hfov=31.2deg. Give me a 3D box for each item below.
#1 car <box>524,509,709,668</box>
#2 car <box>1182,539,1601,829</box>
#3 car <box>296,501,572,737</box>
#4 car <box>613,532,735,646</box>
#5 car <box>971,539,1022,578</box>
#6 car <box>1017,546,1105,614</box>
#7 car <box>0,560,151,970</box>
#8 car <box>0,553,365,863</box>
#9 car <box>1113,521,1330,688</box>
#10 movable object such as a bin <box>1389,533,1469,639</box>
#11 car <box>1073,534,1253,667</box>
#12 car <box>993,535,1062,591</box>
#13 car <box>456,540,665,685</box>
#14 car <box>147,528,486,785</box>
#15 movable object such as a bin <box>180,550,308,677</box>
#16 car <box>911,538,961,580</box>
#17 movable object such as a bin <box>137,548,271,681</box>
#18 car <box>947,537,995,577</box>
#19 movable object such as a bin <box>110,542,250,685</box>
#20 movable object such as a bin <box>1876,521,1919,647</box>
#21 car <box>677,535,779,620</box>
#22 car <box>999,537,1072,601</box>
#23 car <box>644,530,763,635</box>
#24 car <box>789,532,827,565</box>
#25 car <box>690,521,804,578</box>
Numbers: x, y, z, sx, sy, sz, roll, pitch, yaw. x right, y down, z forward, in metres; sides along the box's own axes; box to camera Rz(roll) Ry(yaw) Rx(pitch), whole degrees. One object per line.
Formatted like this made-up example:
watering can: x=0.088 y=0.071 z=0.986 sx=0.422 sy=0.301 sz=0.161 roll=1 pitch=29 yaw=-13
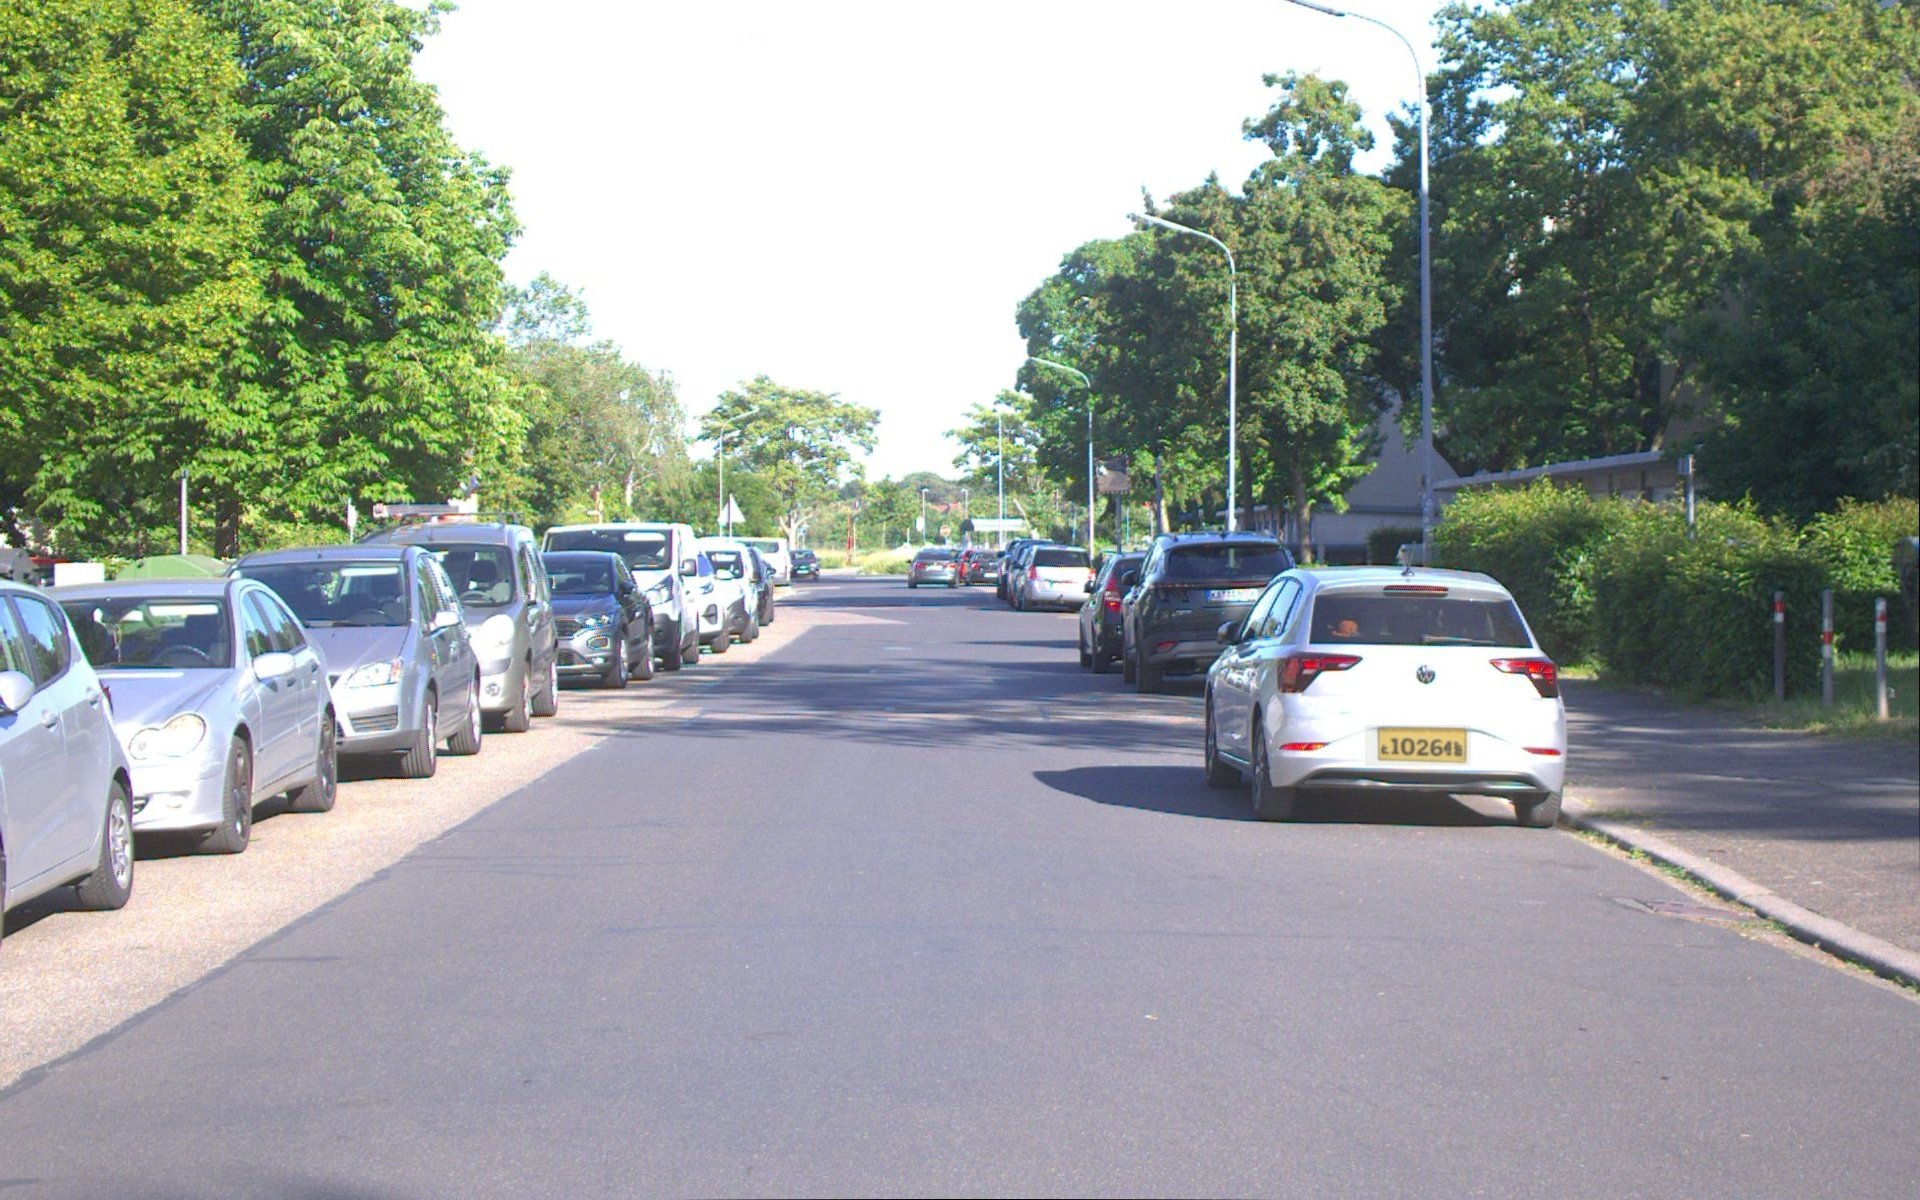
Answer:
car: x=-4.493 y=-0.195 z=45.692 sx=1.915 sy=1.956 sz=5.088 roll=-1 pitch=1 yaw=0
car: x=2.446 y=0.415 z=20.459 sx=1.753 sy=1.508 sz=4.105 roll=2 pitch=1 yaw=-3
car: x=-4.551 y=0.114 z=30.323 sx=1.854 sy=1.886 sz=4.418 roll=-1 pitch=1 yaw=-2
car: x=-4.453 y=-0.203 z=53.961 sx=1.746 sy=1.664 sz=4.379 roll=-1 pitch=1 yaw=-3
car: x=1.451 y=-1.672 z=137.922 sx=1.795 sy=1.543 sz=3.952 roll=1 pitch=1 yaw=-3
car: x=2.404 y=-0.496 z=82.686 sx=1.795 sy=1.556 sz=3.952 roll=1 pitch=1 yaw=-3
car: x=-4.446 y=0.617 z=13.609 sx=1.686 sy=1.500 sz=3.818 roll=-1 pitch=1 yaw=-2
car: x=-4.547 y=0.510 z=19.159 sx=1.686 sy=1.460 sz=4.526 roll=-2 pitch=1 yaw=-1
car: x=2.698 y=0.007 z=36.451 sx=1.908 sy=1.634 sz=4.628 roll=1 pitch=1 yaw=0
movable object such as a bin: x=6.486 y=-0.204 z=47.600 sx=0.917 sy=1.449 sz=1.233 roll=0 pitch=1 yaw=0
car: x=2.442 y=-0.032 z=42.312 sx=1.908 sy=1.525 sz=4.328 roll=1 pitch=1 yaw=0
car: x=2.001 y=-1.121 z=103.053 sx=1.795 sy=1.638 sz=3.952 roll=1 pitch=1 yaw=-3
car: x=-4.510 y=0.102 z=39.347 sx=1.746 sy=1.528 sz=4.139 roll=-1 pitch=1 yaw=2
car: x=-4.453 y=0.332 z=24.314 sx=1.709 sy=1.595 sz=3.986 roll=-2 pitch=1 yaw=-2
movable object such as a bin: x=-8.063 y=0.138 z=38.769 sx=1.101 sy=1.352 sz=1.361 roll=2 pitch=1 yaw=0
car: x=-0.917 y=-1.551 z=129.833 sx=1.679 sy=1.508 sz=4.105 roll=2 pitch=1 yaw=-3
movable object such as a bin: x=-8.203 y=0.144 z=37.364 sx=1.101 sy=1.366 sz=1.361 roll=2 pitch=1 yaw=0
car: x=0.443 y=-1.823 z=145.379 sx=1.795 sy=1.638 sz=3.952 roll=1 pitch=1 yaw=-3
movable object such as a bin: x=-8.130 y=0.128 z=35.902 sx=1.101 sy=1.416 sz=1.361 roll=2 pitch=1 yaw=0
movable object such as a bin: x=10.787 y=-0.180 z=37.422 sx=1.254 sy=1.348 sz=1.279 roll=0 pitch=1 yaw=-1
car: x=-4.644 y=-0.478 z=69.332 sx=1.746 sy=1.607 sz=4.308 roll=-1 pitch=1 yaw=0
car: x=2.158 y=-0.896 z=98.872 sx=1.795 sy=1.780 sz=3.952 roll=1 pitch=1 yaw=-3
car: x=-4.424 y=-0.335 z=59.732 sx=1.746 sy=1.726 sz=4.005 roll=-1 pitch=1 yaw=0
car: x=-7.357 y=-2.502 z=166.662 sx=1.795 sy=1.556 sz=3.952 roll=1 pitch=1 yaw=-3
car: x=-7.757 y=-1.844 z=124.939 sx=4.053 sy=1.985 sz=1.802 roll=1 pitch=1 yaw=-5
